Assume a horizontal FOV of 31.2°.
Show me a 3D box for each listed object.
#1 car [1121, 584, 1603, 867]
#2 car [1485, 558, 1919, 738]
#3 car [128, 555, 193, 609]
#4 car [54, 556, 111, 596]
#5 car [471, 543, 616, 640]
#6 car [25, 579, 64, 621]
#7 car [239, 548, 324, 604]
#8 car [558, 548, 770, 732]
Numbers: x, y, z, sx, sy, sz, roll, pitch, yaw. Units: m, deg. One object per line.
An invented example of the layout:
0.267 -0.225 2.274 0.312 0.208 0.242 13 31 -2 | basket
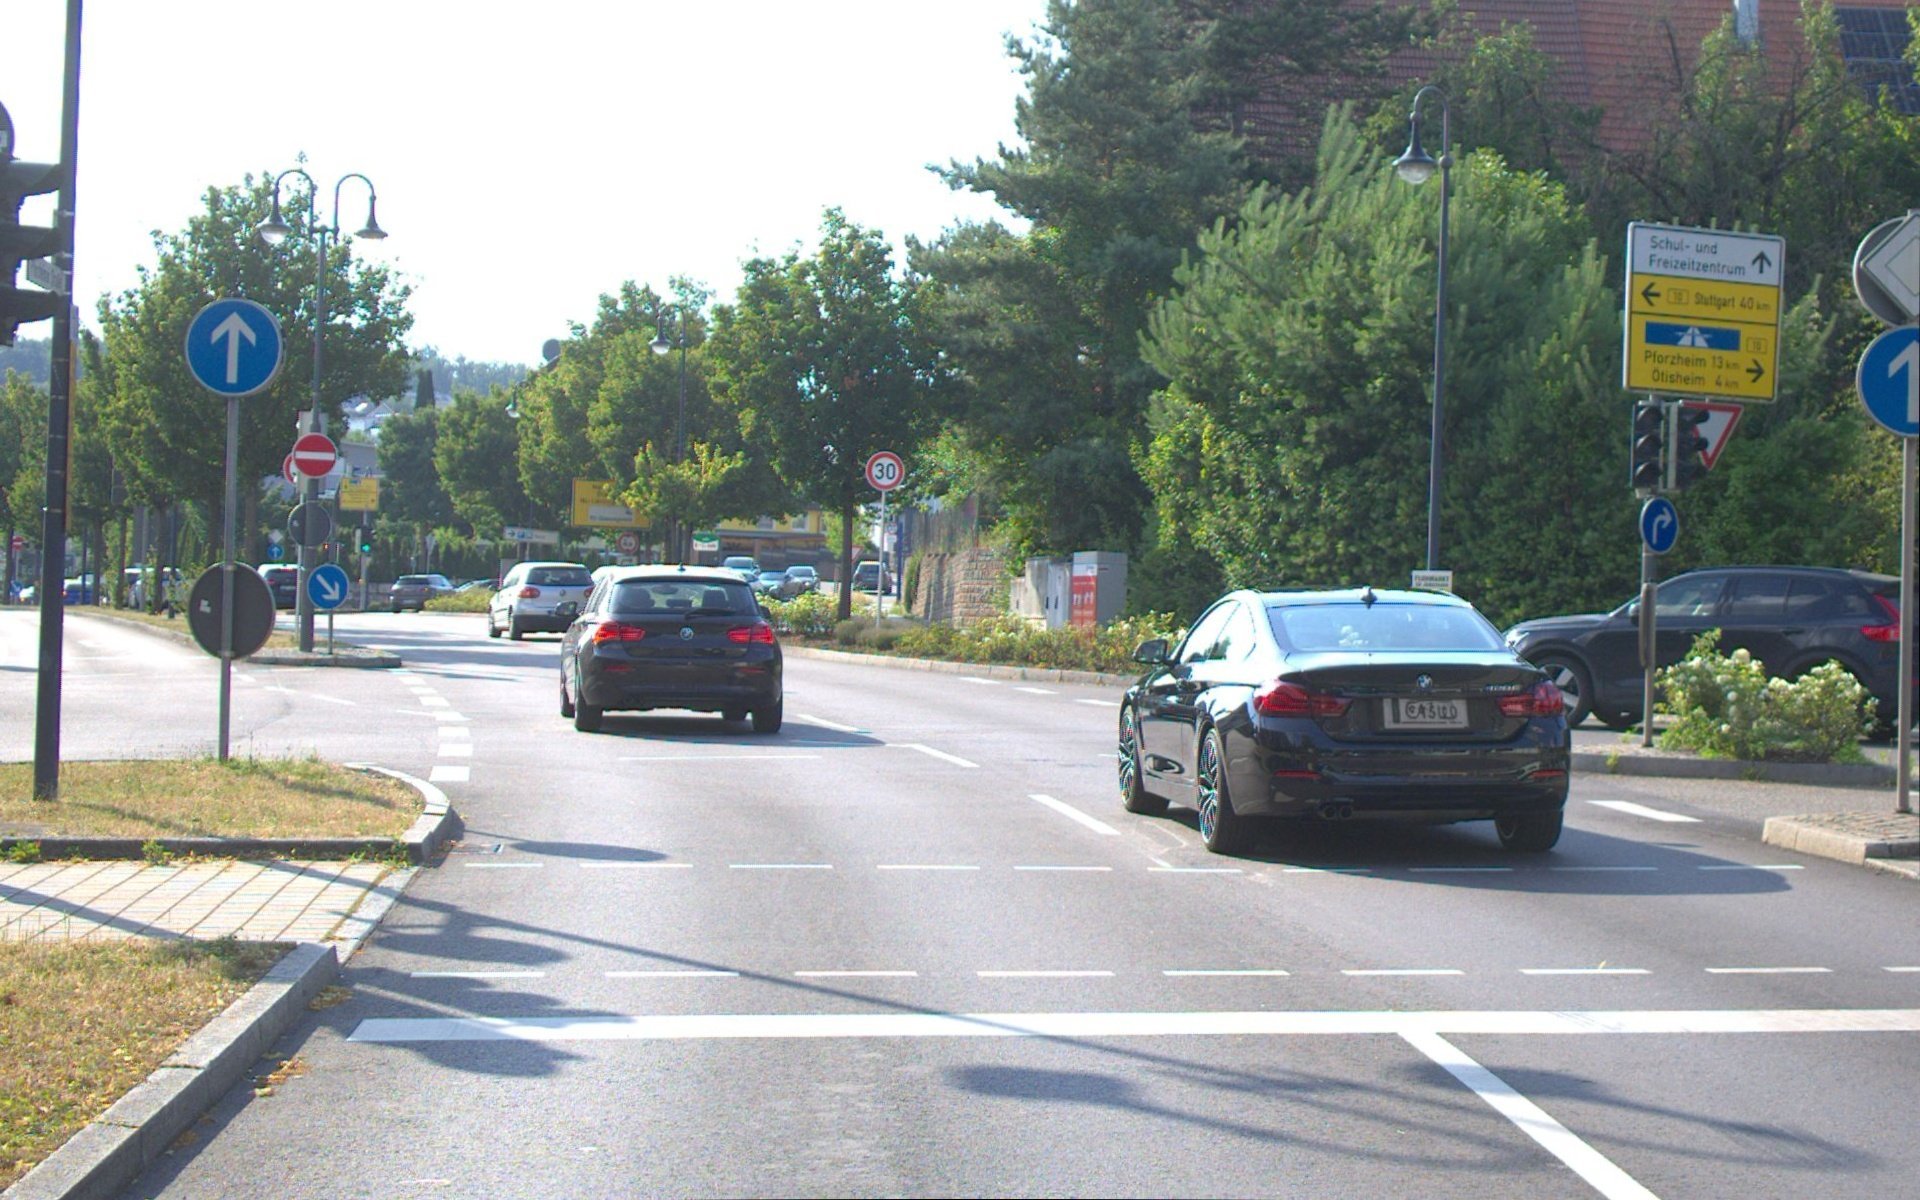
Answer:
2.069 0.606 18.965 1.920 1.359 4.353 1 0 -3 | car
7.401 0.423 33.052 4.265 1.561 1.789 2 1 34 | car
-26.629 -0.614 114.461 1.755 1.763 3.972 1 0 -18 | car
-40.061 -1.122 156.815 2.216 1.763 4.456 1 0 -18 | car
-8.004 -0.181 65.754 1.924 1.763 4.456 1 0 -18 | car
-46.259 -0.005 173.699 1.772 2.007 4.001 1 1 -13 | car
-22.328 -0.796 113.028 2.216 1.763 4.456 1 0 -18 | car
-2.707 0.312 30.727 1.720 1.485 4.354 1 0 -7 | car
